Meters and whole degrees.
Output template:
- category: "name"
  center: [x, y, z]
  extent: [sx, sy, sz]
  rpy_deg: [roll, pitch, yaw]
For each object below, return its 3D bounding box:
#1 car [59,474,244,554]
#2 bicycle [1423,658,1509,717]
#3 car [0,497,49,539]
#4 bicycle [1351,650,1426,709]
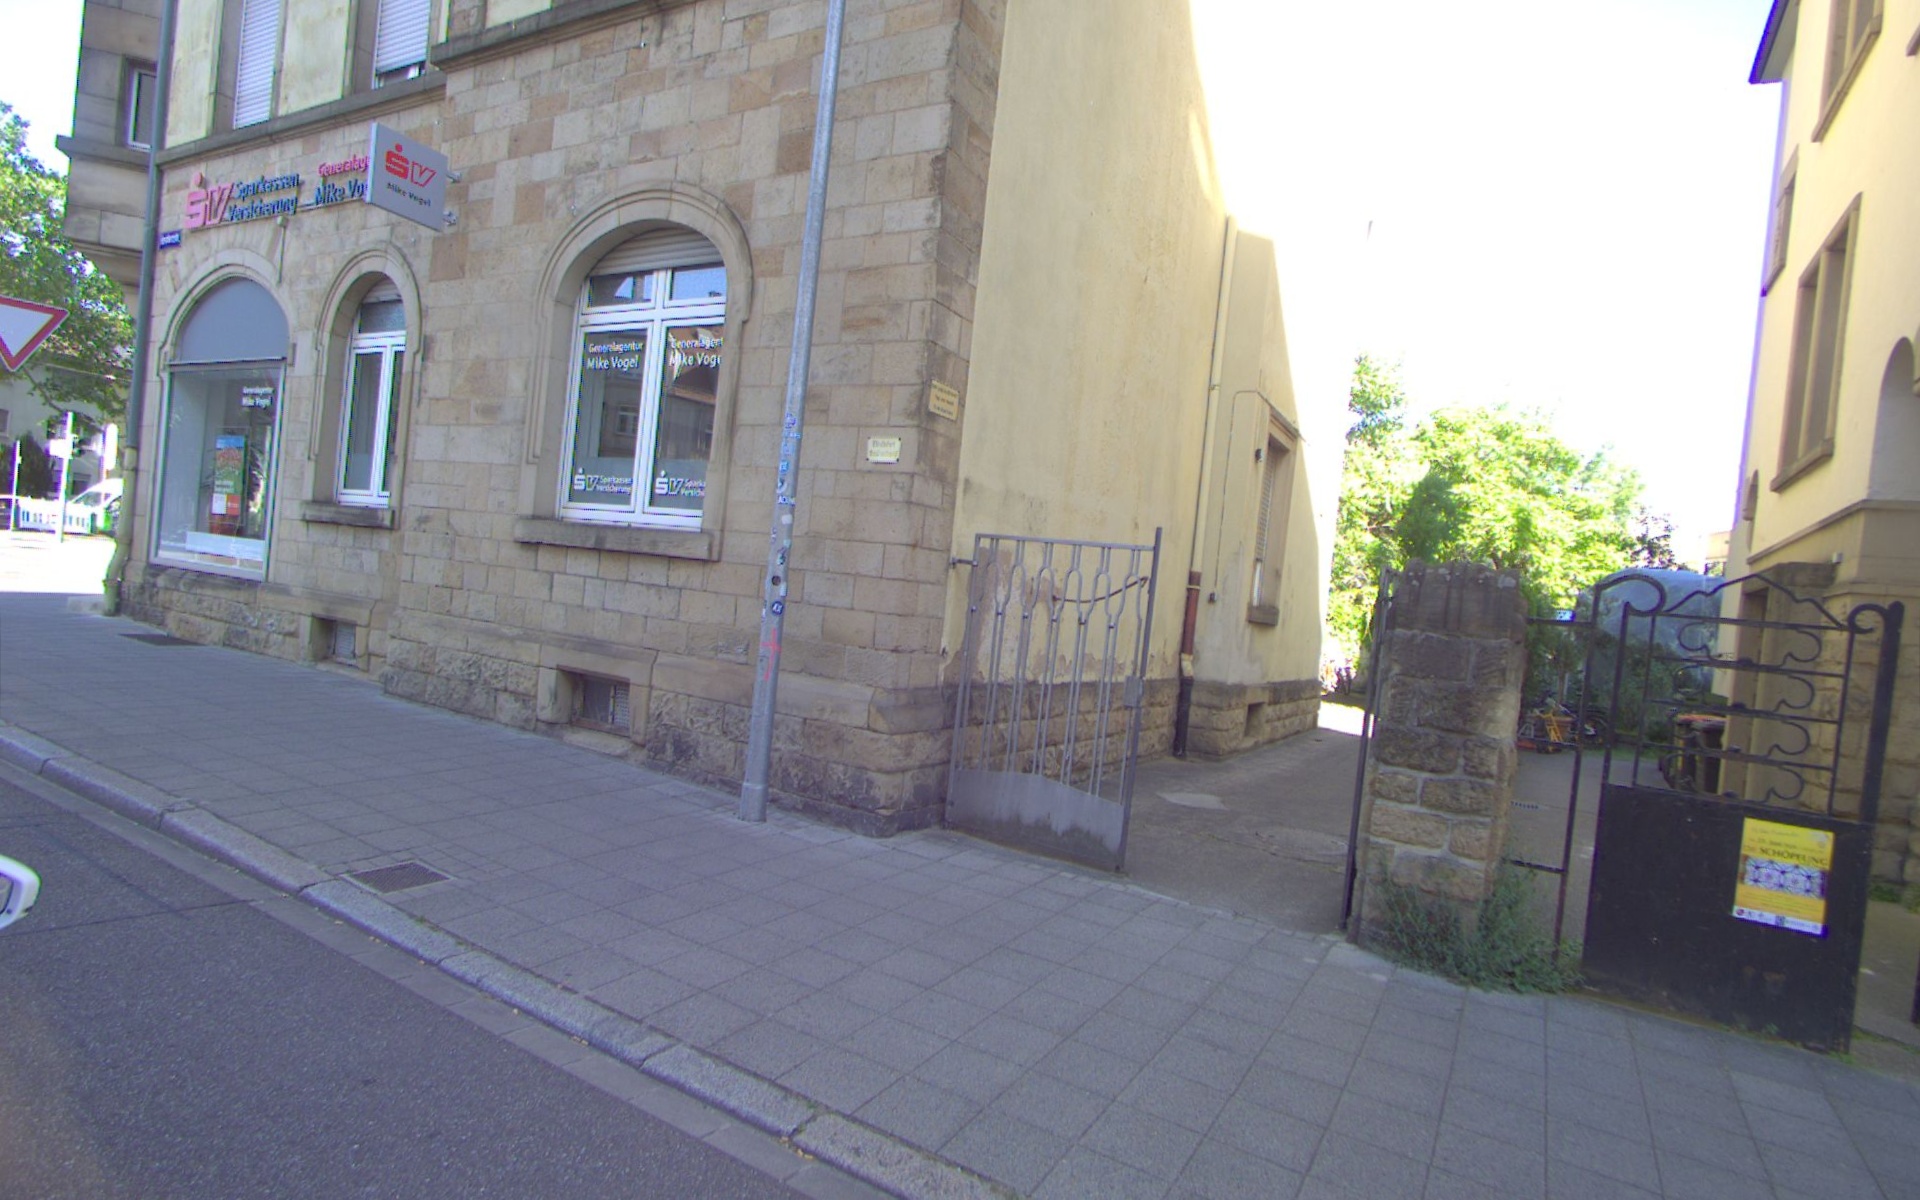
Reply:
- category: "car"
  center: [-34.301, -3.587, 42.998]
  extent: [1.962, 2.600, 6.061]
  rpy_deg: [6, 0, 14]
- category: "bicycle"
  center: [12.314, 2.095, 24.608]
  extent: [0.855, 1.124, 2.864]
  rpy_deg: [6, 0, 7]
- category: "car"
  center: [-38.434, -3.359, 39.687]
  extent: [1.496, 1.506, 3.391]
  rpy_deg: [6, 0, 10]
- category: "bicycle"
  center: [10.626, 1.938, 25.079]
  extent: [0.860, 1.180, 2.659]
  rpy_deg: [6, 0, 6]
